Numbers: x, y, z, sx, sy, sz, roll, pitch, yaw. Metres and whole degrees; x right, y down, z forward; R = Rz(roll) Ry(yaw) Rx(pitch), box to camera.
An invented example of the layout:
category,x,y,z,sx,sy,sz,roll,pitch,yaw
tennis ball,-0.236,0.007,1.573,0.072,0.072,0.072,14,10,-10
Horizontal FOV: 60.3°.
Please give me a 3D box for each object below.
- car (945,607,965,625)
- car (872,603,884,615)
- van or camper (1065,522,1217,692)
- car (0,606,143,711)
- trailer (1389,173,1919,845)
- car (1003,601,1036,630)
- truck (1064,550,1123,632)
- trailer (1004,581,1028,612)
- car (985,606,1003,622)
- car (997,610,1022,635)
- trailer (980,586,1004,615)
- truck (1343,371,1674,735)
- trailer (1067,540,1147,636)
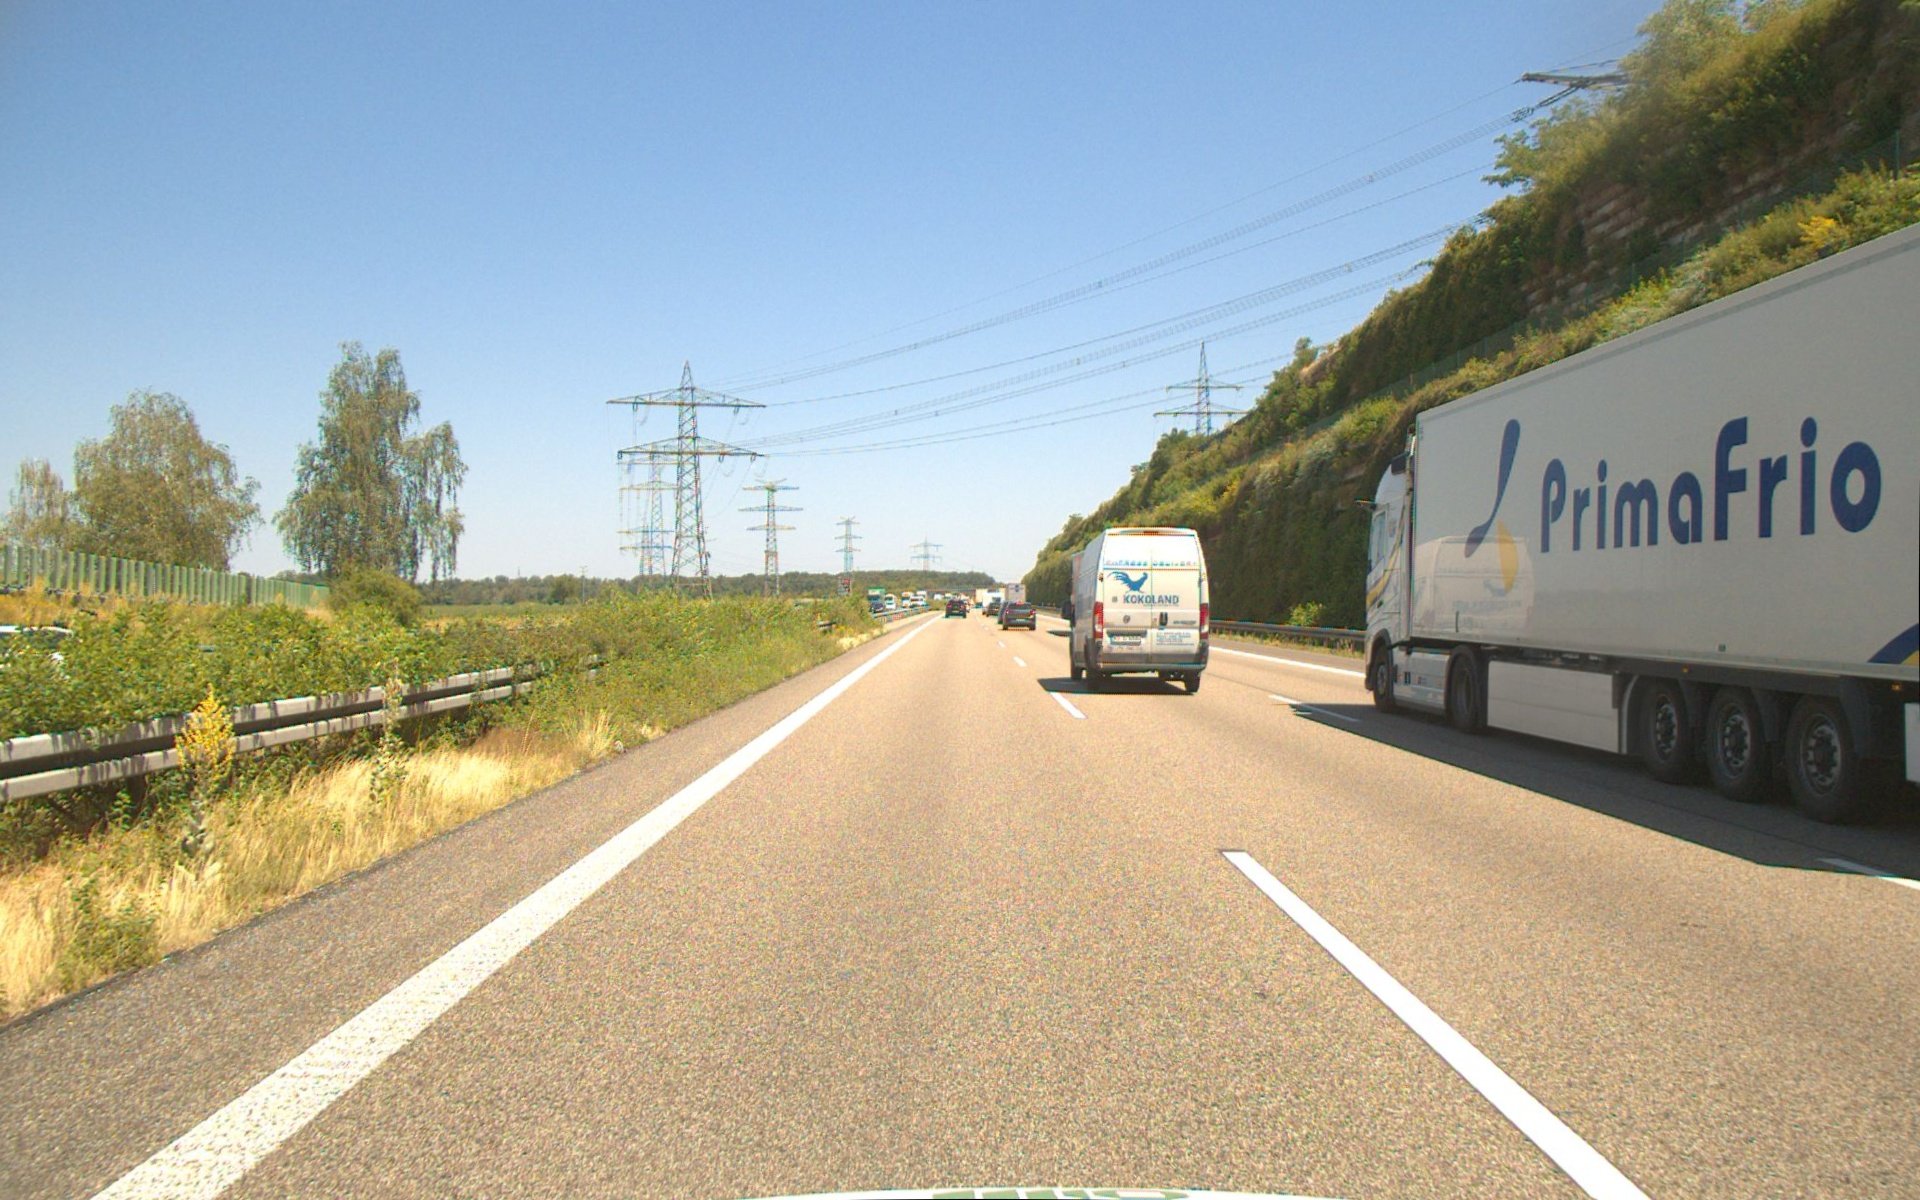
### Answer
category,x,y,z,sx,sy,sz,roll,pitch,yaw
car,-0.435,1.492,154.300,1.792,1.700,4.000,-1,0,0
car,-11.445,1.263,230.992,1.585,1.485,4.283,-3,0,-2
van or camper,3.230,0.123,30.862,2.053,2.817,6.756,0,0,0
car,-16.716,0.986,29.379,1.794,1.712,5.496,-1,0,-2
trailer,7.331,-0.577,14.799,2.463,4.285,17.025,1,0,0
car,3.335,0.858,92.597,1.713,1.552,3.995,0,0,0
truck,6.825,-0.447,85.312,2.564,4.062,6.526,0,0,0
trailer,8.032,-0.462,238.749,3.117,4.193,13.432,-1,0,1
car,3.440,1.440,169.101,1.792,1.552,4.001,-1,0,1
car,3.524,1.590,118.419,1.757,1.682,4.138,0,0,1
trailer,3.722,0.083,192.998,2.557,3.269,9.952,-1,0,0
truck,7.293,-0.547,22.935,2.456,4.294,6.255,1,0,0
trailer,6.761,-0.501,77.907,2.591,4.075,13.606,1,0,0
